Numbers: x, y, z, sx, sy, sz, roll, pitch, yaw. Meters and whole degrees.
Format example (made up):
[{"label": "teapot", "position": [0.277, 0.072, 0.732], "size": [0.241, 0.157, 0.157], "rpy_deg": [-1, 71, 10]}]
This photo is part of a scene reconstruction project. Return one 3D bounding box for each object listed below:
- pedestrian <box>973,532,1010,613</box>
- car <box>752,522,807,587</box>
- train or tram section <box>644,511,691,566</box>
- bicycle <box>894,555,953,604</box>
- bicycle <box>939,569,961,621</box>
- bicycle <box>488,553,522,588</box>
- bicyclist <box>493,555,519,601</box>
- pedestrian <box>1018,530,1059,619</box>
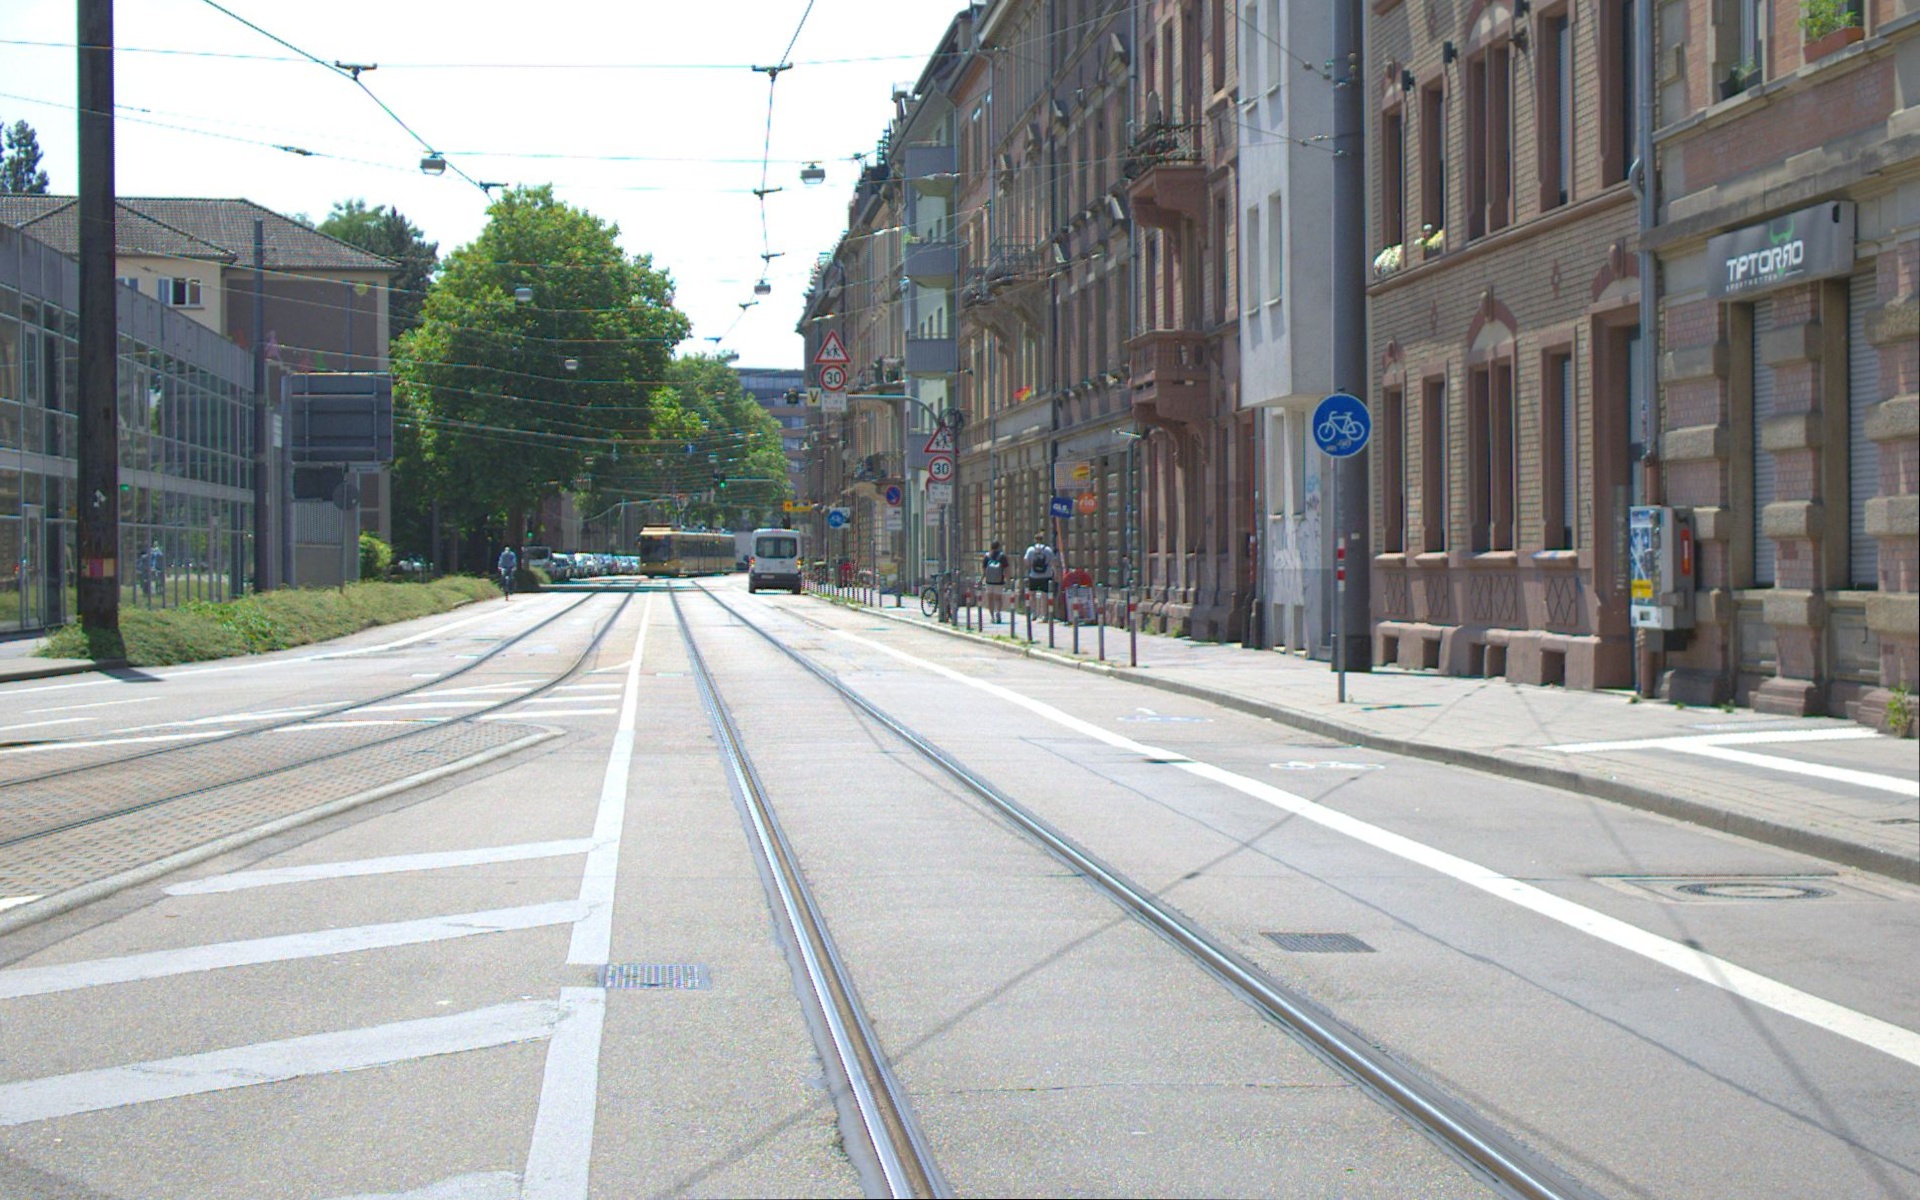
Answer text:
[{"label": "pedestrian", "position": [0.678, -0.597, 73.506], "size": [0.720, 1.714, 0.644], "rpy_deg": [-1, 1, -4]}, {"label": "car", "position": [-7.174, -1.805, 136.224], "size": [2.067, 2.492, 5.455], "rpy_deg": [1, 1, -4]}, {"label": "train or tram section", "position": [-19.555, -4.086, 229.216], "size": [2.960, 3.568, 13.426], "rpy_deg": [0, 1, -5]}, {"label": "bicycle", "position": [-0.867, -0.498, 82.401], "size": [0.499, 1.127, 2.240], "rpy_deg": [0, 1, 24]}, {"label": "bicycle", "position": [-0.211, -0.122, 74.927], "size": [0.447, 1.093, 2.423], "rpy_deg": [-1, 1, 1]}, {"label": "bicycle", "position": [-15.447, -1.004, 116.695], "size": [0.698, 1.140, 2.495], "rpy_deg": [-1, 1, 3]}, {"label": "bicyclist", "position": [-15.427, -0.743, 116.886], "size": [0.698, 1.543, 0.980], "rpy_deg": [-1, 1, 3]}, {"label": "pedestrian", "position": [1.680, -0.543, 73.416], "size": [0.702, 1.842, 0.644], "rpy_deg": [-4, 1, -4]}]
